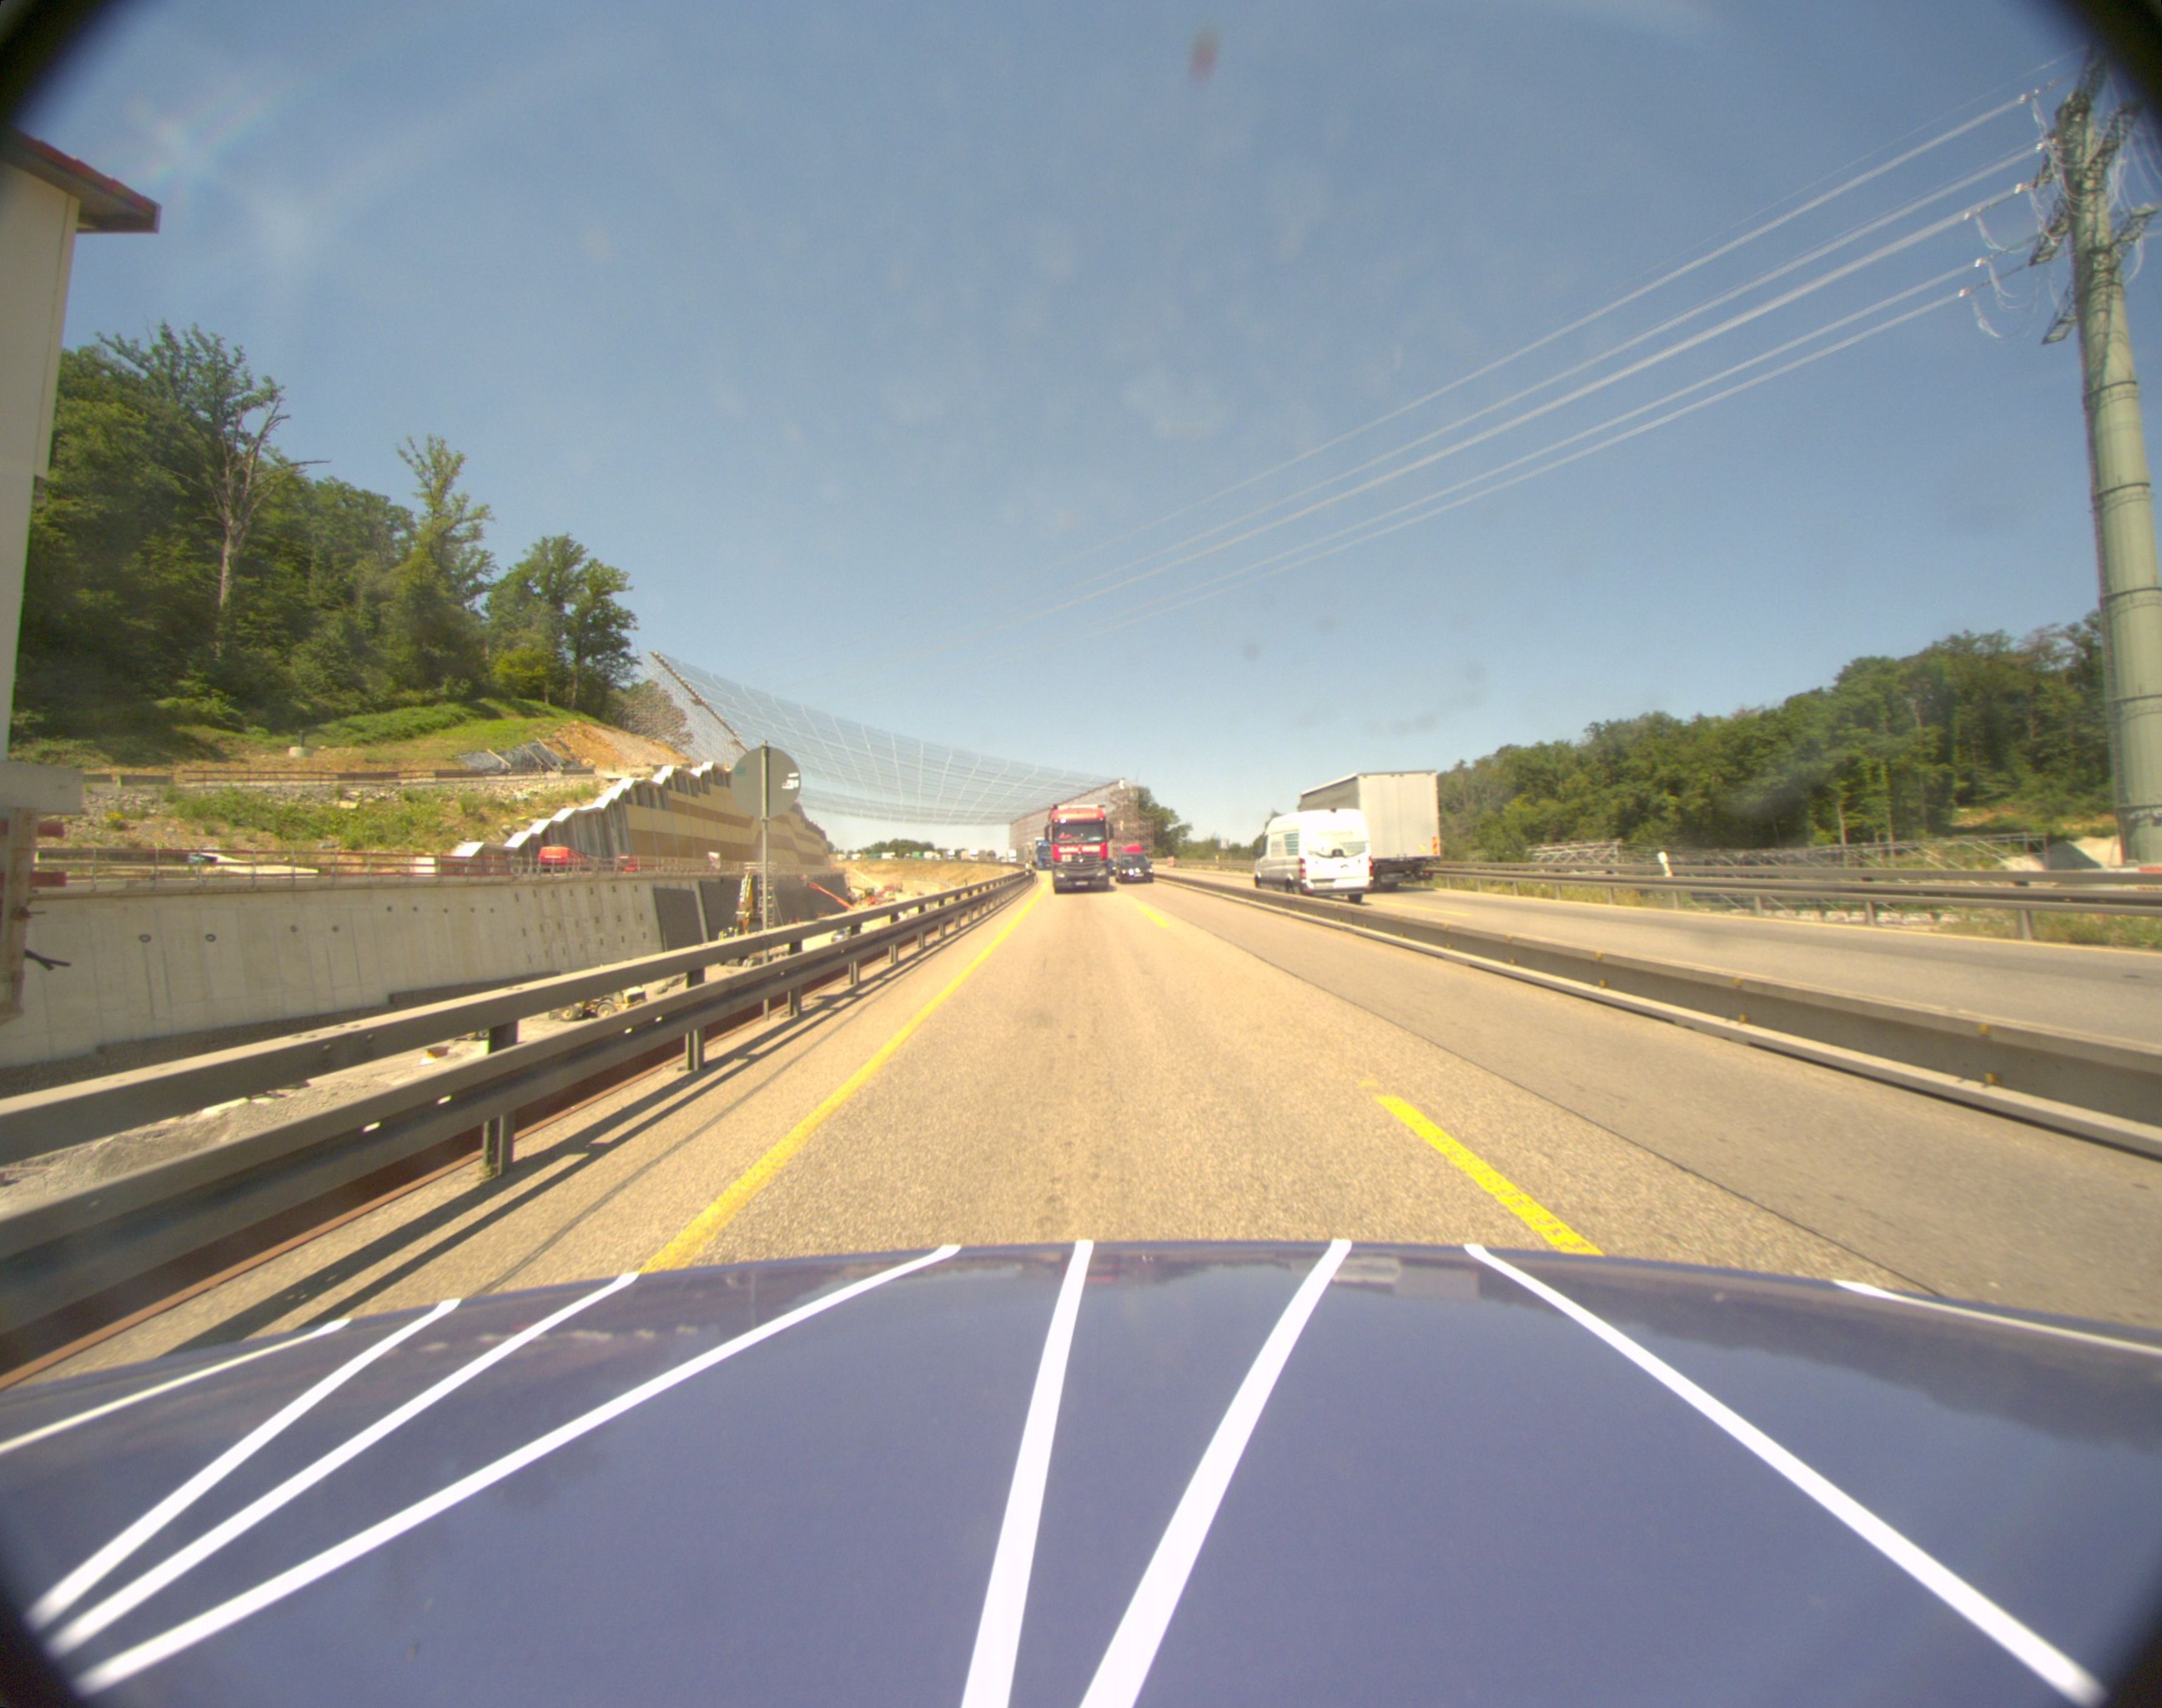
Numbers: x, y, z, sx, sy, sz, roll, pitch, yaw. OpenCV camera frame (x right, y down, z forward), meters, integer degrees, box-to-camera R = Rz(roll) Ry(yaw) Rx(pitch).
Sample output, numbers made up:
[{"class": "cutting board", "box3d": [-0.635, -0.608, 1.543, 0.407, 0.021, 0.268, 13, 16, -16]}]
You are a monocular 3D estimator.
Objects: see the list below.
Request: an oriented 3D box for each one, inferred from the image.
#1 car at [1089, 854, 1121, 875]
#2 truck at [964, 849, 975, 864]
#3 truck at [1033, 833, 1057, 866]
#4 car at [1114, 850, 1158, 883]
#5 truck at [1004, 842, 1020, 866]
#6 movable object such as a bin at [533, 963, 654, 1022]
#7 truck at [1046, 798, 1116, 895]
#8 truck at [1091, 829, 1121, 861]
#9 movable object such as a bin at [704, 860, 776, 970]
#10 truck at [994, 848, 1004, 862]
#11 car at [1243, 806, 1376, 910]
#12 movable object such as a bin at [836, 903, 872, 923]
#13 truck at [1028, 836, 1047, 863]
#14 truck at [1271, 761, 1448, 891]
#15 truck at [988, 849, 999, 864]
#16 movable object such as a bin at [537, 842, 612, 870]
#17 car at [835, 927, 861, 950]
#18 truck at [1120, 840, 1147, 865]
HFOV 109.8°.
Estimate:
[{"class": "car", "box3d": [1.855, 0.830, 60.364, 1.897, 1.546, 4.784, -2, -1, -5]}, {"class": "truck", "box3d": [-33.448, 0.818, 228.568, 3.043, 4.236, 8.935, -3, 1, -7]}, {"class": "truck", "box3d": [-4.847, -0.601, 100.760, 2.672, 3.986, 10.423, -3, 1, -5]}, {"class": "car", "box3d": [3.050, 0.715, 43.299, 1.861, 1.695, 5.303, -2, -1, -2]}, {"class": "truck", "box3d": [-14.560, -0.080, 159.196, 3.042, 4.778, 8.936, -3, 1, -5]}, {"class": "movable object such as a bin", "box3d": [-26.119, 7.396, 40.824, 5.118, 2.577, 2.060, -2, 0, 1]}, {"class": "truck", "box3d": [-0.075, -0.378, 37.325, 2.798, 3.986, 10.427, -3, 1, -1]}, {"class": "truck", "box3d": [3.940, -1.441, 124.078, 3.220, 4.982, 11.255, -3, 1, -6]}, {"class": "movable object such as a bin", "box3d": [-24.601, 4.193, 55.135, 2.935, 7.311, 6.233, -3, 1, -10]}, {"class": "truck", "box3d": [-26.063, 0.312, 241.628, 2.985, 4.140, 8.937, -3, 1, -5]}, {"class": "car", "box3d": [6.701, 0.065, 23.233, 1.975, 2.664, 6.660, -2, 1, 0]}, {"class": "movable object such as a bin", "box3d": [-34.185, 8.841, 114.367, 5.485, 2.621, 2.224, -2, 1, 38]}, {"class": "truck", "box3d": [-7.393, -0.814, 128.042, 2.911, 4.207, 9.236, -3, 1, -4]}, {"class": "truck", "box3d": [10.152, -0.904, 29.322, 2.807, 3.976, 10.551, -2, 0, 0]}, {"class": "truck", "box3d": [-25.719, 0.634, 223.759, 3.043, 4.033, 8.669, -3, 1, -6]}, {"class": "movable object such as a bin", "box3d": [-38.717, 0.126, 58.306, 2.081, 2.002, 5.353, -3, 1, -1]}, {"class": "car", "box3d": [-26.463, 9.552, 86.333, 1.999, 2.002, 3.997, -3, 1, -6]}, {"class": "truck", "box3d": [6.438, -0.179, 93.858, 2.211, 2.847, 6.495, -3, 1, -5]}]
